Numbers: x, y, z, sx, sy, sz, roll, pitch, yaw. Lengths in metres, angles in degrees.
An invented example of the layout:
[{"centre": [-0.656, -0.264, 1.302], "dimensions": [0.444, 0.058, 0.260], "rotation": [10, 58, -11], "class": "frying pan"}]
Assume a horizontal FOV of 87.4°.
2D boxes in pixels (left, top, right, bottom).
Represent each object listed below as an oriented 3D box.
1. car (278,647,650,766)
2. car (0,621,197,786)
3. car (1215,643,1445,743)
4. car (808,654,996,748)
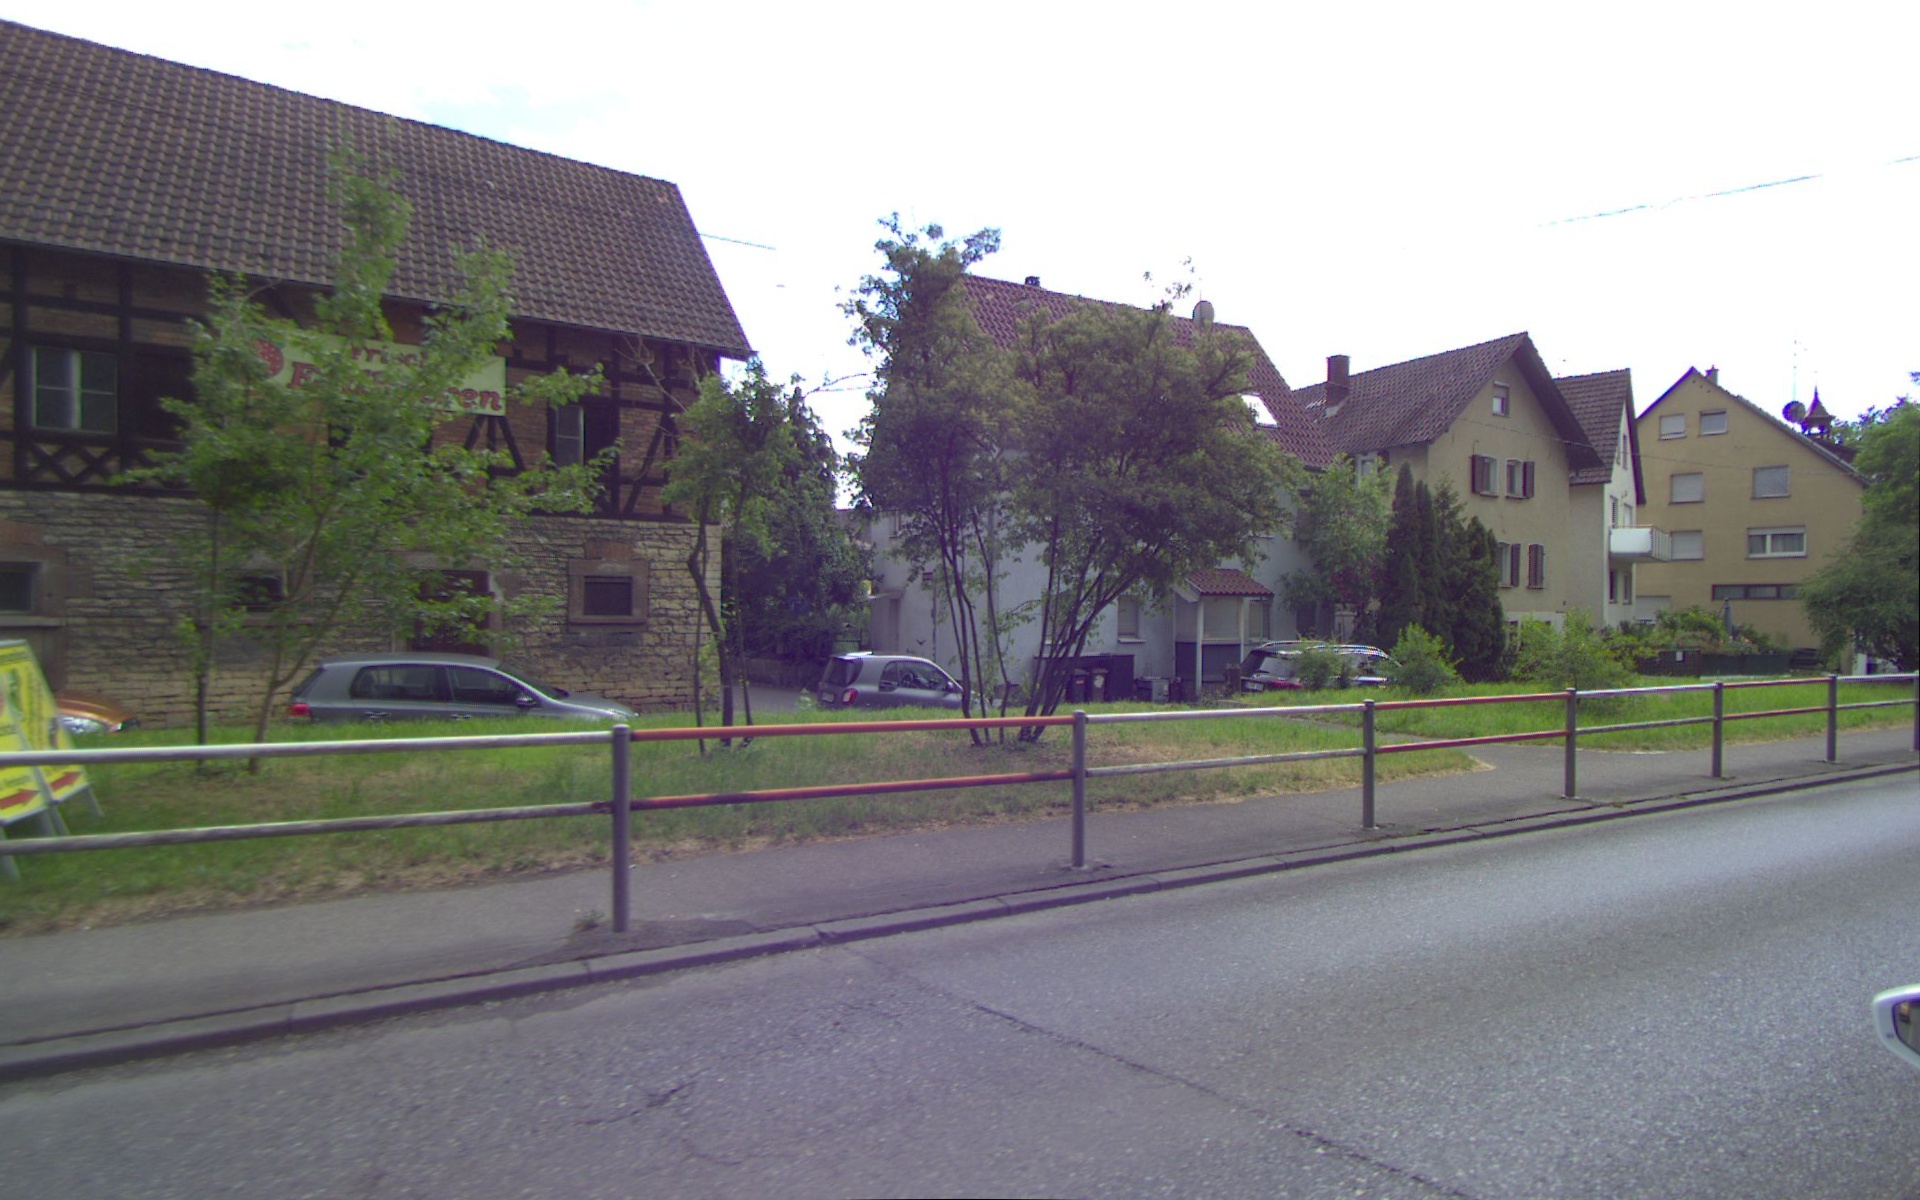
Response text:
[{"centre": [-6.142, 1.258, 12.855], "dimensions": [3.945, 1.294, 1.988], "rotation": [1, -2, -25], "class": "car"}, {"centre": [-10.627, 1.048, 10.466], "dimensions": [3.949, 1.639, 1.805], "rotation": [1, -2, -28], "class": "car"}, {"centre": [7.039, 1.688, 19.130], "dimensions": [3.945, 1.717, 1.916], "rotation": [1, -2, -25], "class": "car"}, {"centre": [-0.910, 1.488, 15.438], "dimensions": [2.519, 1.294, 1.549], "rotation": [1, -2, -25], "class": "car"}]
